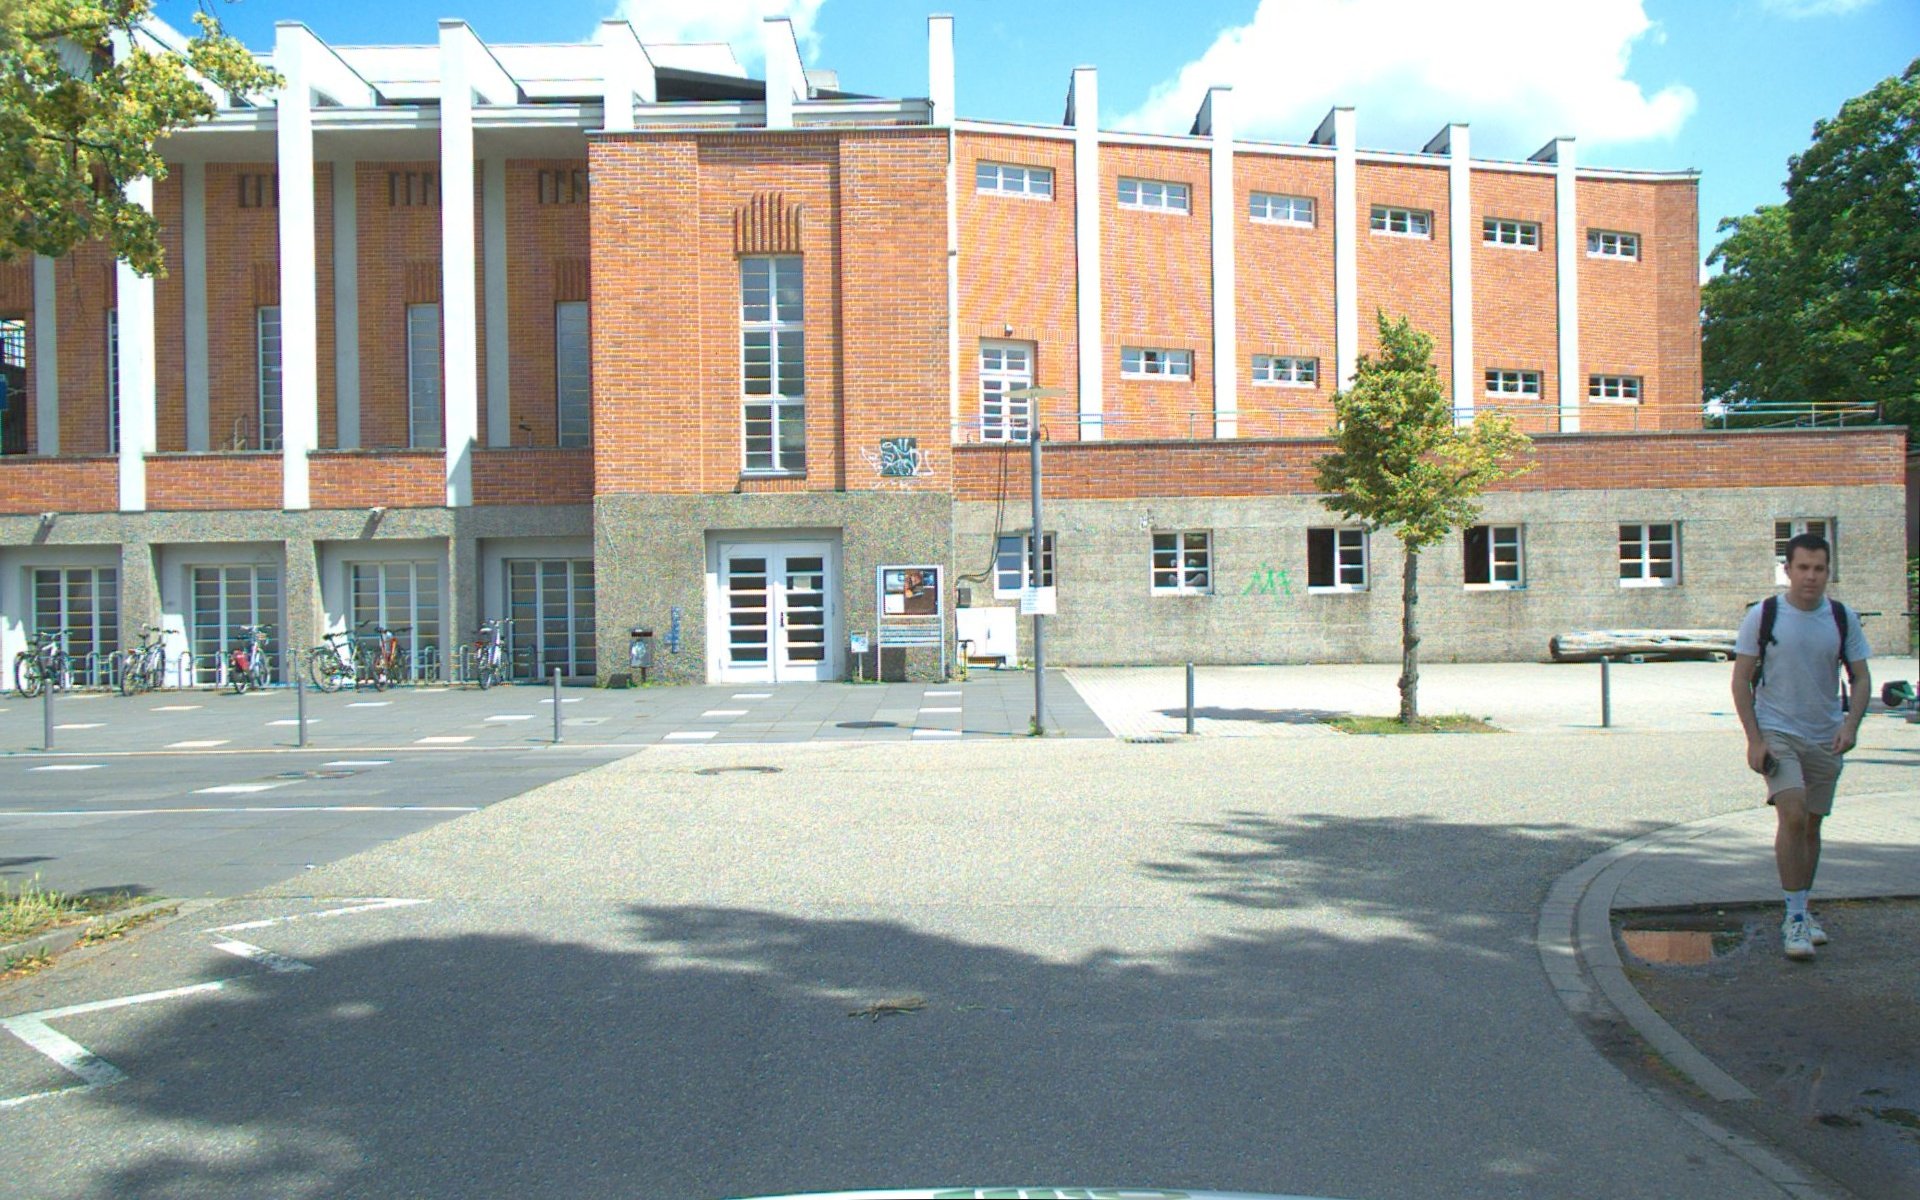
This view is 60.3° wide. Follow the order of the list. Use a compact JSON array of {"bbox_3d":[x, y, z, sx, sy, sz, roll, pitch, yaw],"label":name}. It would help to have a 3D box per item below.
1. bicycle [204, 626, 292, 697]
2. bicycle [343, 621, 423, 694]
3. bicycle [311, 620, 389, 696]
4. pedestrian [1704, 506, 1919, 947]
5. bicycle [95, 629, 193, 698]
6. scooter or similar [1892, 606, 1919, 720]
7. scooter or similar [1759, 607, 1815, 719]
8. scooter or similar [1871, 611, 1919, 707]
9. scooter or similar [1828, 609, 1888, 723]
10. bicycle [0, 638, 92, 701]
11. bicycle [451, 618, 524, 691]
[{"bbox_3d":[-11.968,1.014,27.860,0.607,1.101,2.016,-1,0,-1],"label":"bicycle"},{"bbox_3d":[-9.718,0.945,27.929,0.578,1.145,2.028,-1,0,1],"label":"bicycle"},{"bbox_3d":[-10.341,0.965,28.105,0.428,1.145,2.029,-1,2,4],"label":"bicycle"},{"bbox_3d":[3.599,0.512,6.987,0.626,1.775,0.583,-1,0,2],"label":"pedestrian"},{"bbox_3d":[-13.735,1.049,27.901,0.648,1.079,2.028,-1,0,-1],"label":"bicycle"},{"bbox_3d":[11.111,0.705,19.108,0.512,1.246,1.573,-1,0,27],"label":"scooter or similar"},{"bbox_3d":[9.811,0.724,19.622,0.557,1.246,1.573,-1,0,27],"label":"scooter or similar"},{"bbox_3d":[12.190,0.725,20.631,1.316,1.169,0.565,-1,0,12],"label":"scooter or similar"},{"bbox_3d":[10.485,0.744,19.336,0.552,1.246,1.573,-1,0,27],"label":"scooter or similar"},{"bbox_3d":[-15.510,1.156,27.927,0.668,0.977,1.956,-1,0,-1],"label":"bicycle"},{"bbox_3d":[-7.935,0.897,27.853,0.651,1.145,2.028,-1,0,-1],"label":"bicycle"}]
